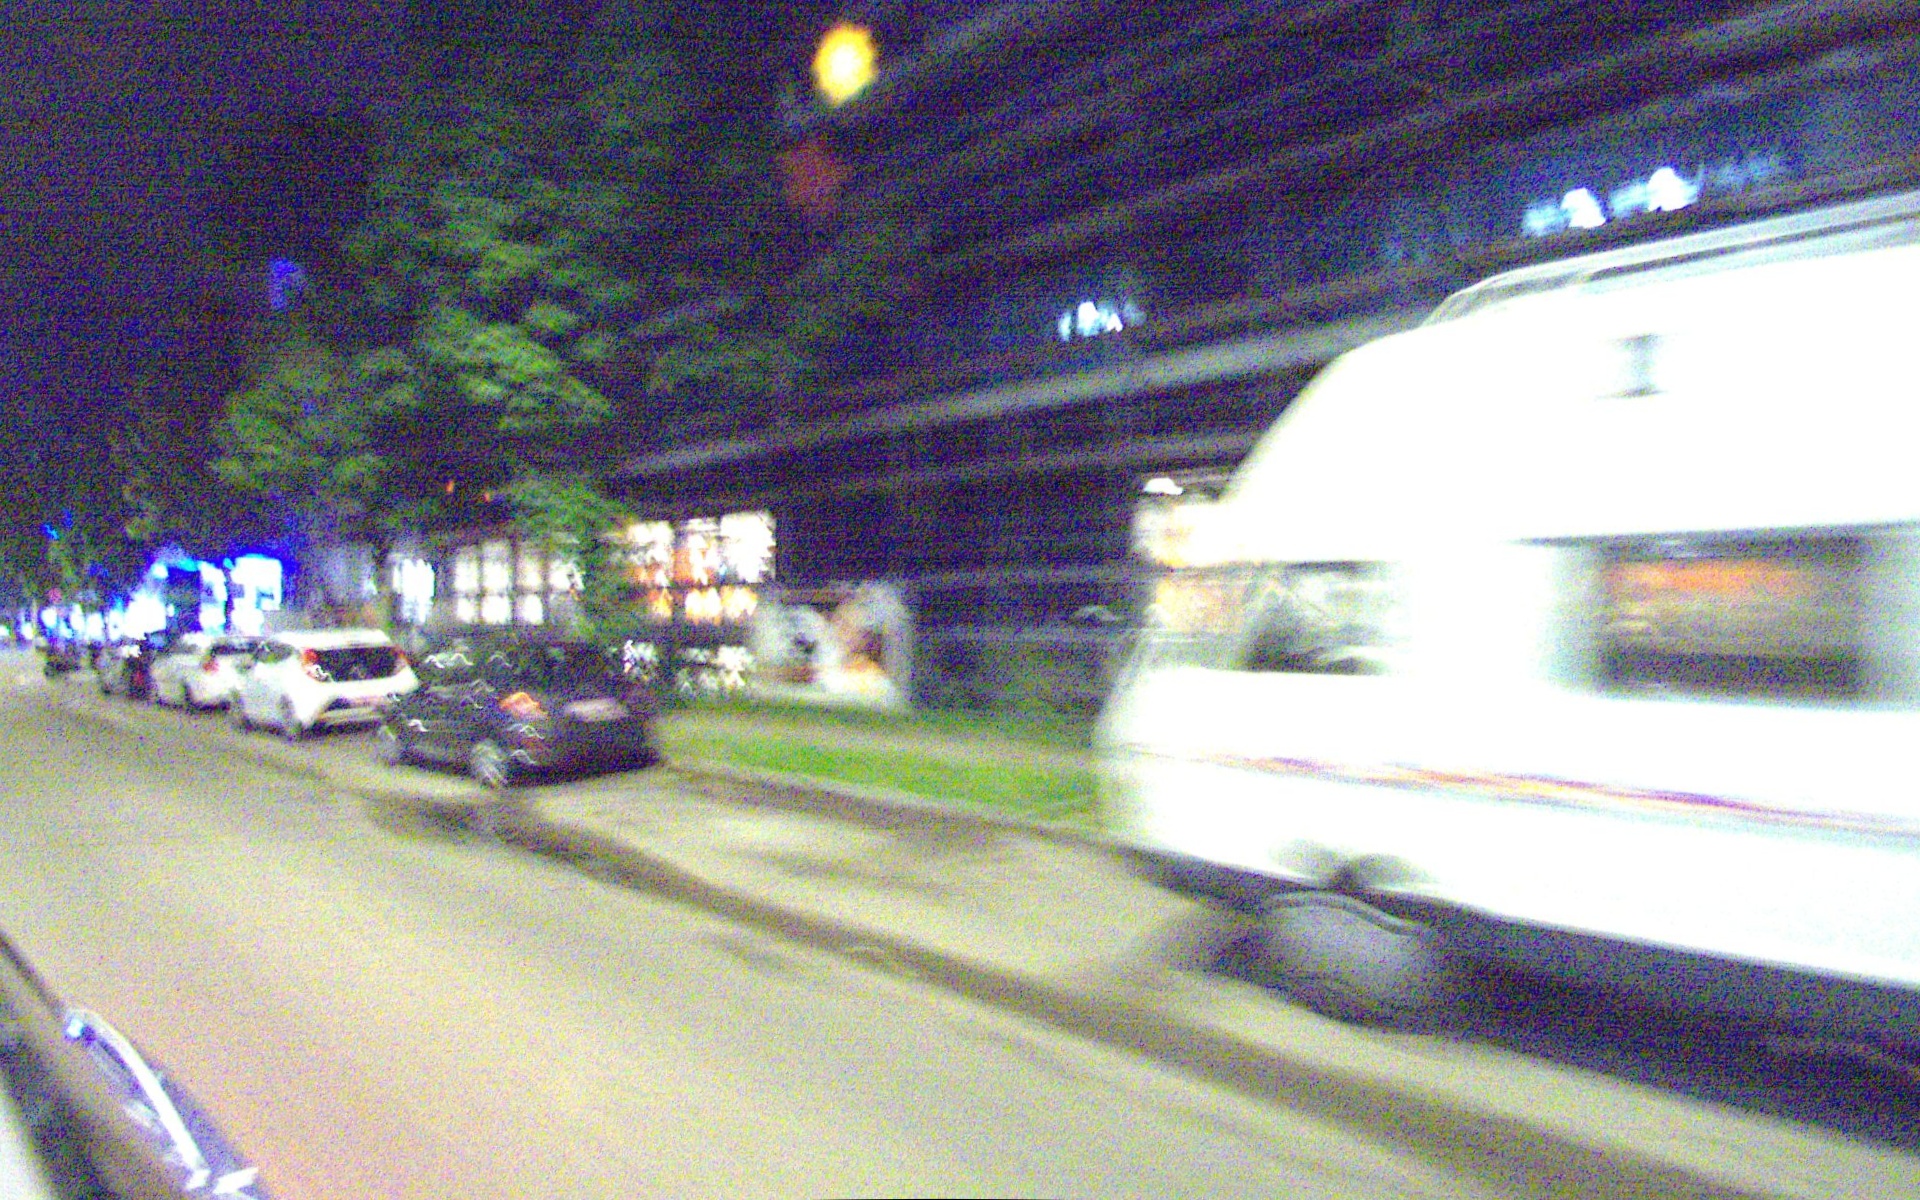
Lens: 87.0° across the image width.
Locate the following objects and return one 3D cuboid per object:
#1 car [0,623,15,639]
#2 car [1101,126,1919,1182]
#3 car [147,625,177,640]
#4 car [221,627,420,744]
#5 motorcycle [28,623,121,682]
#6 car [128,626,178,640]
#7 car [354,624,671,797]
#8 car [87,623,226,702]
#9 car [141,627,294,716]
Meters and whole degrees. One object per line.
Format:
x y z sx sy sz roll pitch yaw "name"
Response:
-100.773 3.206 105.150 1.633 1.712 3.529 -1 -3 40 "car"
3.211 0.147 3.761 4.906 2.931 2.157 -1 0 40 "car"
-84.910 3.447 107.693 4.083 1.489 1.710 -1 -2 40 "car"
-9.450 1.166 14.882 3.366 1.466 1.532 -1 0 40 "car"
-24.834 1.445 28.426 0.635 1.561 1.894 -1 0 21 "motorcycle"
-91.521 3.692 114.854 1.716 1.489 4.256 -1 -1 13 "car"
-4.952 1.038 10.978 3.858 1.516 1.629 -1 -1 40 "car"
-17.514 1.296 21.992 3.901 1.516 1.626 -1 0 40 "car"
-13.949 1.256 18.933 3.901 1.440 1.430 -1 1 40 "car"
